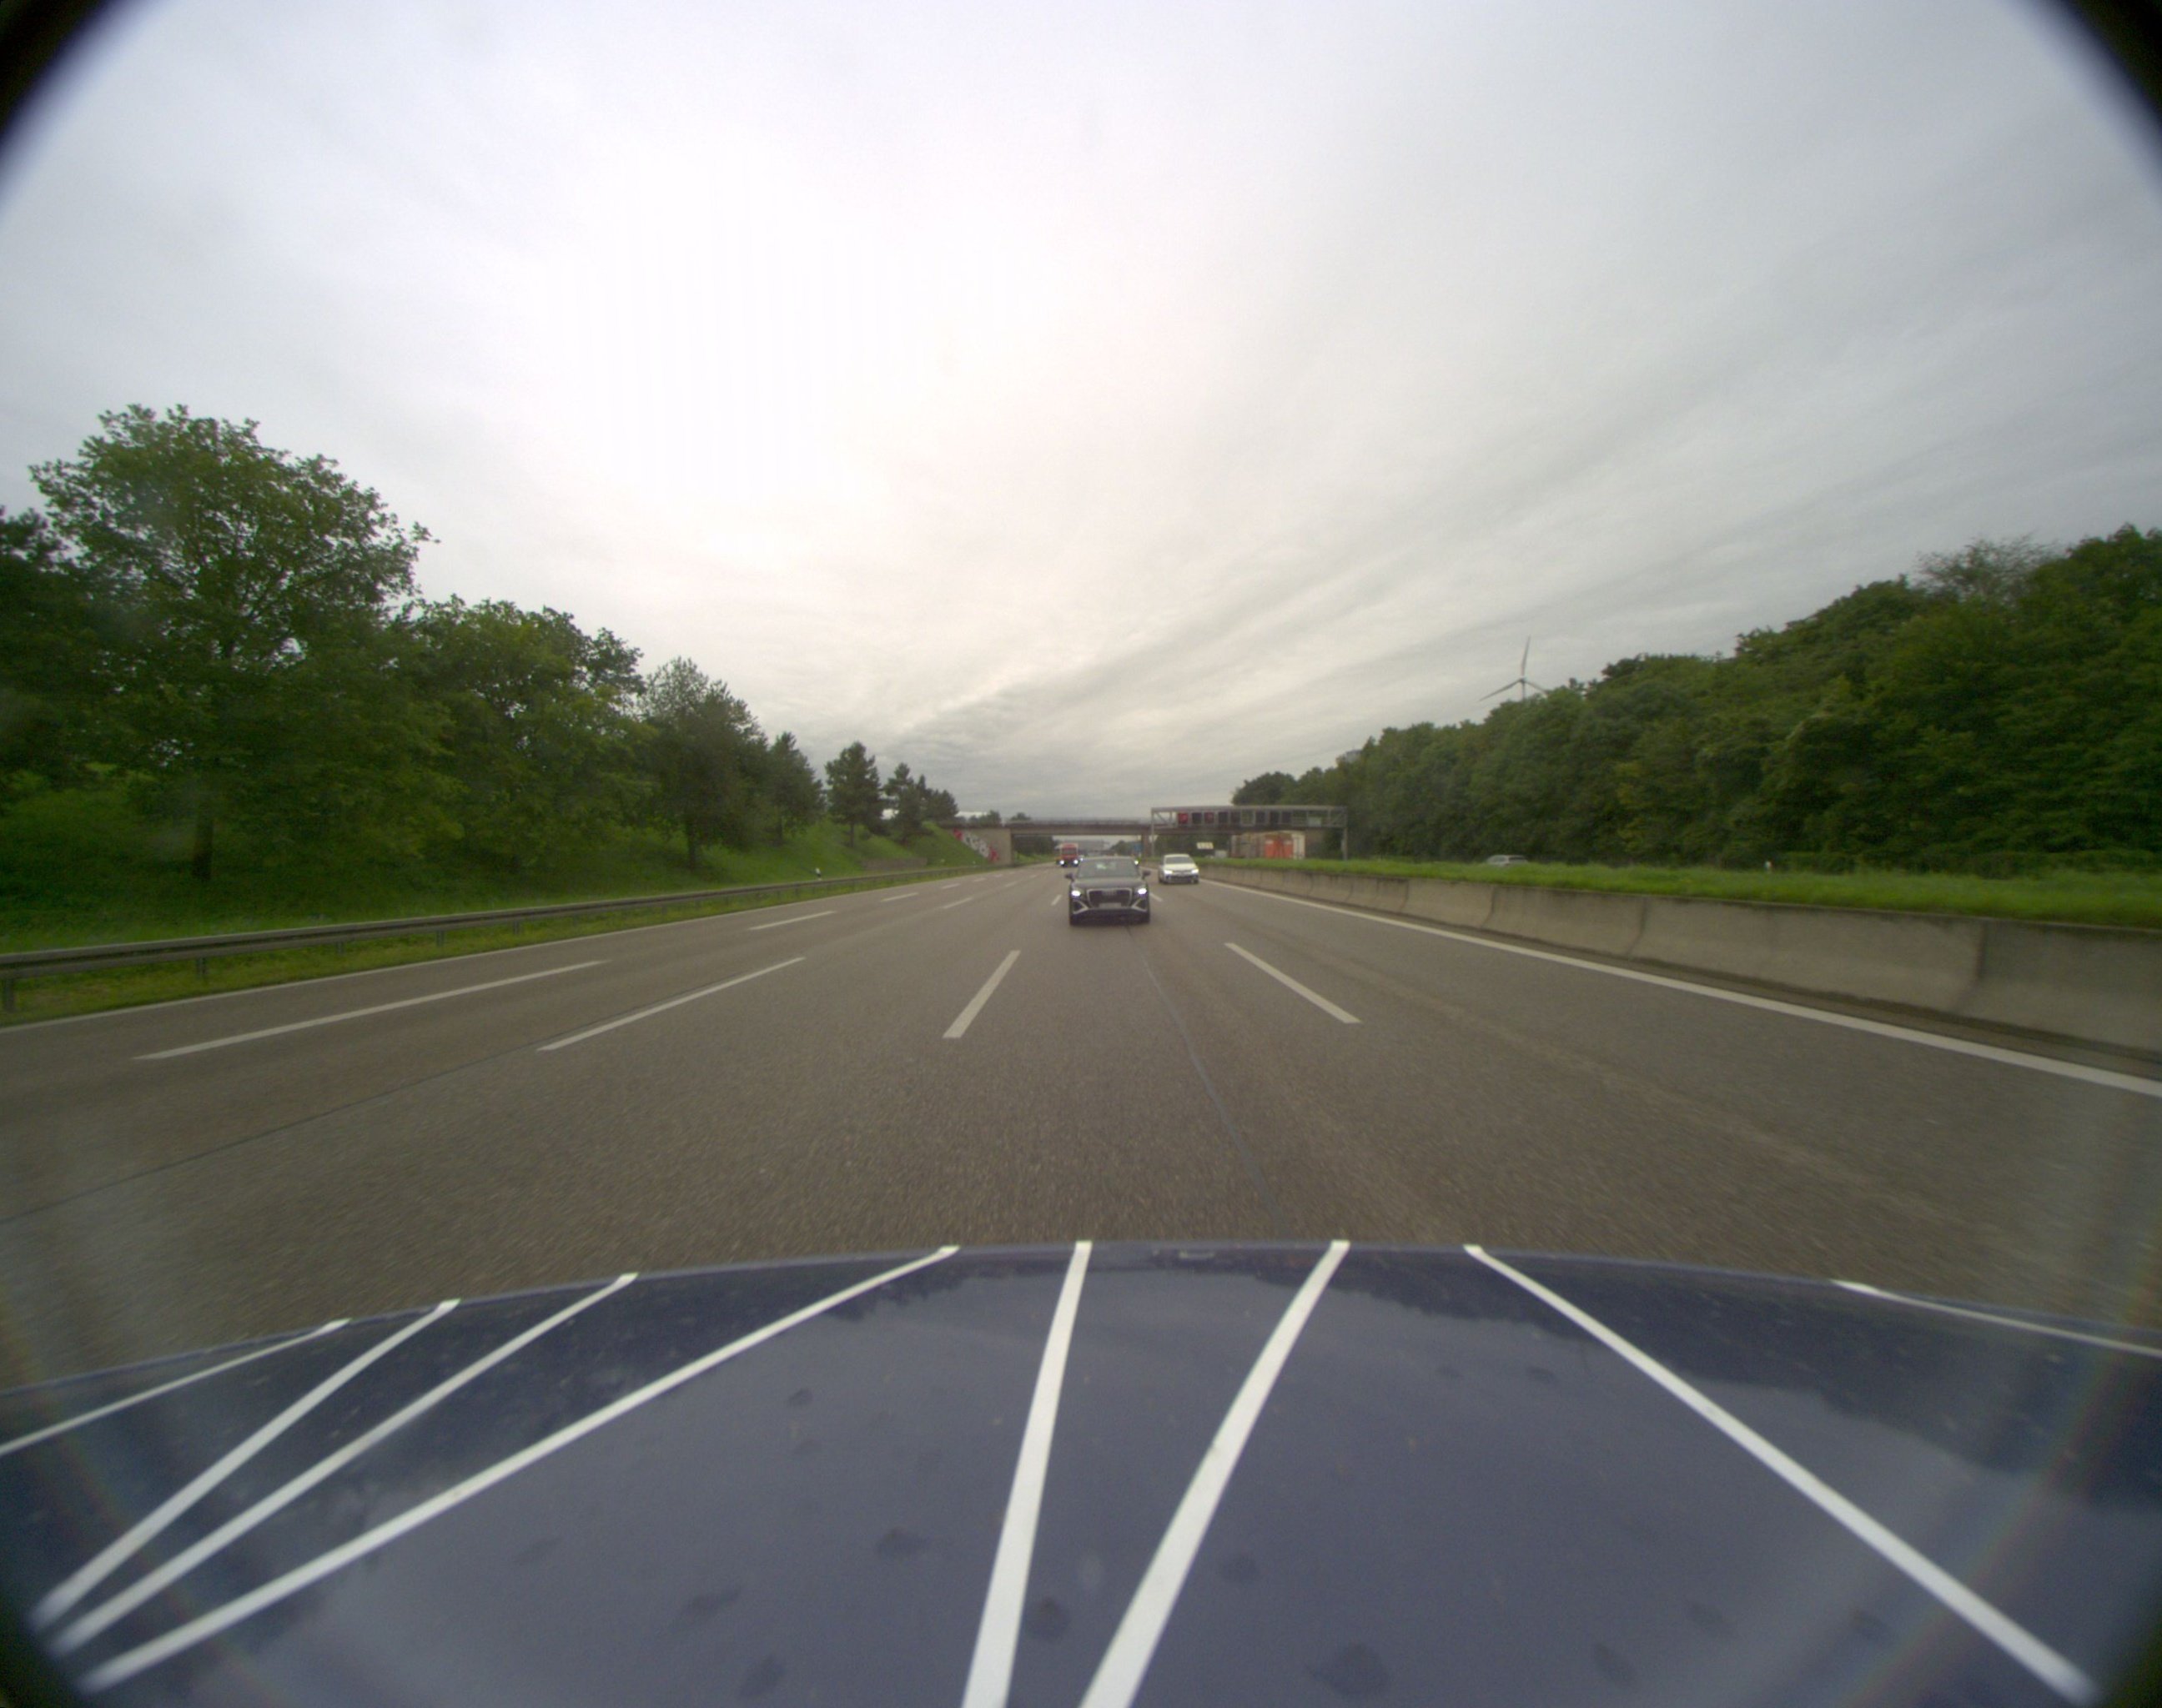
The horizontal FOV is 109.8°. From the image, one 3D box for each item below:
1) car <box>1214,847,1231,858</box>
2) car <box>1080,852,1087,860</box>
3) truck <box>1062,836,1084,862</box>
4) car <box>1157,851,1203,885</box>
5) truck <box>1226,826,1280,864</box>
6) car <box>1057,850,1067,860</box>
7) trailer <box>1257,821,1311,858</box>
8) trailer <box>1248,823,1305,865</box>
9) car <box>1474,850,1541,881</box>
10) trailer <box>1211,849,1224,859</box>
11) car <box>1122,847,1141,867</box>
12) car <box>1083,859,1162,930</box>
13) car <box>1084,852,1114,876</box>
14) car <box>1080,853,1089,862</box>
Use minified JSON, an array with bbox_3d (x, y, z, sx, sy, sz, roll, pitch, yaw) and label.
[{"bbox_3d":[28.052,-0.259,150.671,2.202,2.072,6.065,-2,1,1],"label":"car"},{"bbox_3d":[0.729,0.529,201.622,1.690,1.875,3.741,-2,1,1],"label":"car"},{"bbox_3d":[-1.120,-0.814,114.567,2.836,3.634,10.671,-2,1,2],"label":"truck"},{"bbox_3d":[4.974,0.653,38.841,1.757,1.608,4.663,-1,0,0],"label":"car"},{"bbox_3d":[17.478,-0.913,78.000,2.958,3.446,11.183,-2,1,0],"label":"truck"},{"bbox_3d":[-4.195,0.275,167.564,1.998,2.002,4.000,-2,1,2],"label":"car"},{"bbox_3d":[21.596,-1.524,81.485,2.692,3.519,11.869,-2,1,1],"label":"trailer"},{"bbox_3d":[17.379,-0.863,68.195,2.939,3.439,8.319,-2,1,1],"label":"trailer"},{"bbox_3d":[27.585,0.698,49.309,1.998,1.778,4.304,-2,1,2],"label":"car"},{"bbox_3d":[29.980,-0.052,167.375,1.998,2.002,5.177,-2,1,2],"label":"trailer"},{"bbox_3d":[5.329,0.260,80.029,1.725,2.002,3.851,-2,1,1],"label":"car"},{"bbox_3d":[0.893,0.866,17.714,1.616,1.403,3.326,-2,1,0],"label":"car"},{"bbox_3d":[1.245,0.650,53.479,1.998,1.555,4.910,-2,0,1],"label":"car"},{"bbox_3d":[0.818,0.788,186.618,1.998,2.002,4.000,-2,1,1],"label":"car"}]
